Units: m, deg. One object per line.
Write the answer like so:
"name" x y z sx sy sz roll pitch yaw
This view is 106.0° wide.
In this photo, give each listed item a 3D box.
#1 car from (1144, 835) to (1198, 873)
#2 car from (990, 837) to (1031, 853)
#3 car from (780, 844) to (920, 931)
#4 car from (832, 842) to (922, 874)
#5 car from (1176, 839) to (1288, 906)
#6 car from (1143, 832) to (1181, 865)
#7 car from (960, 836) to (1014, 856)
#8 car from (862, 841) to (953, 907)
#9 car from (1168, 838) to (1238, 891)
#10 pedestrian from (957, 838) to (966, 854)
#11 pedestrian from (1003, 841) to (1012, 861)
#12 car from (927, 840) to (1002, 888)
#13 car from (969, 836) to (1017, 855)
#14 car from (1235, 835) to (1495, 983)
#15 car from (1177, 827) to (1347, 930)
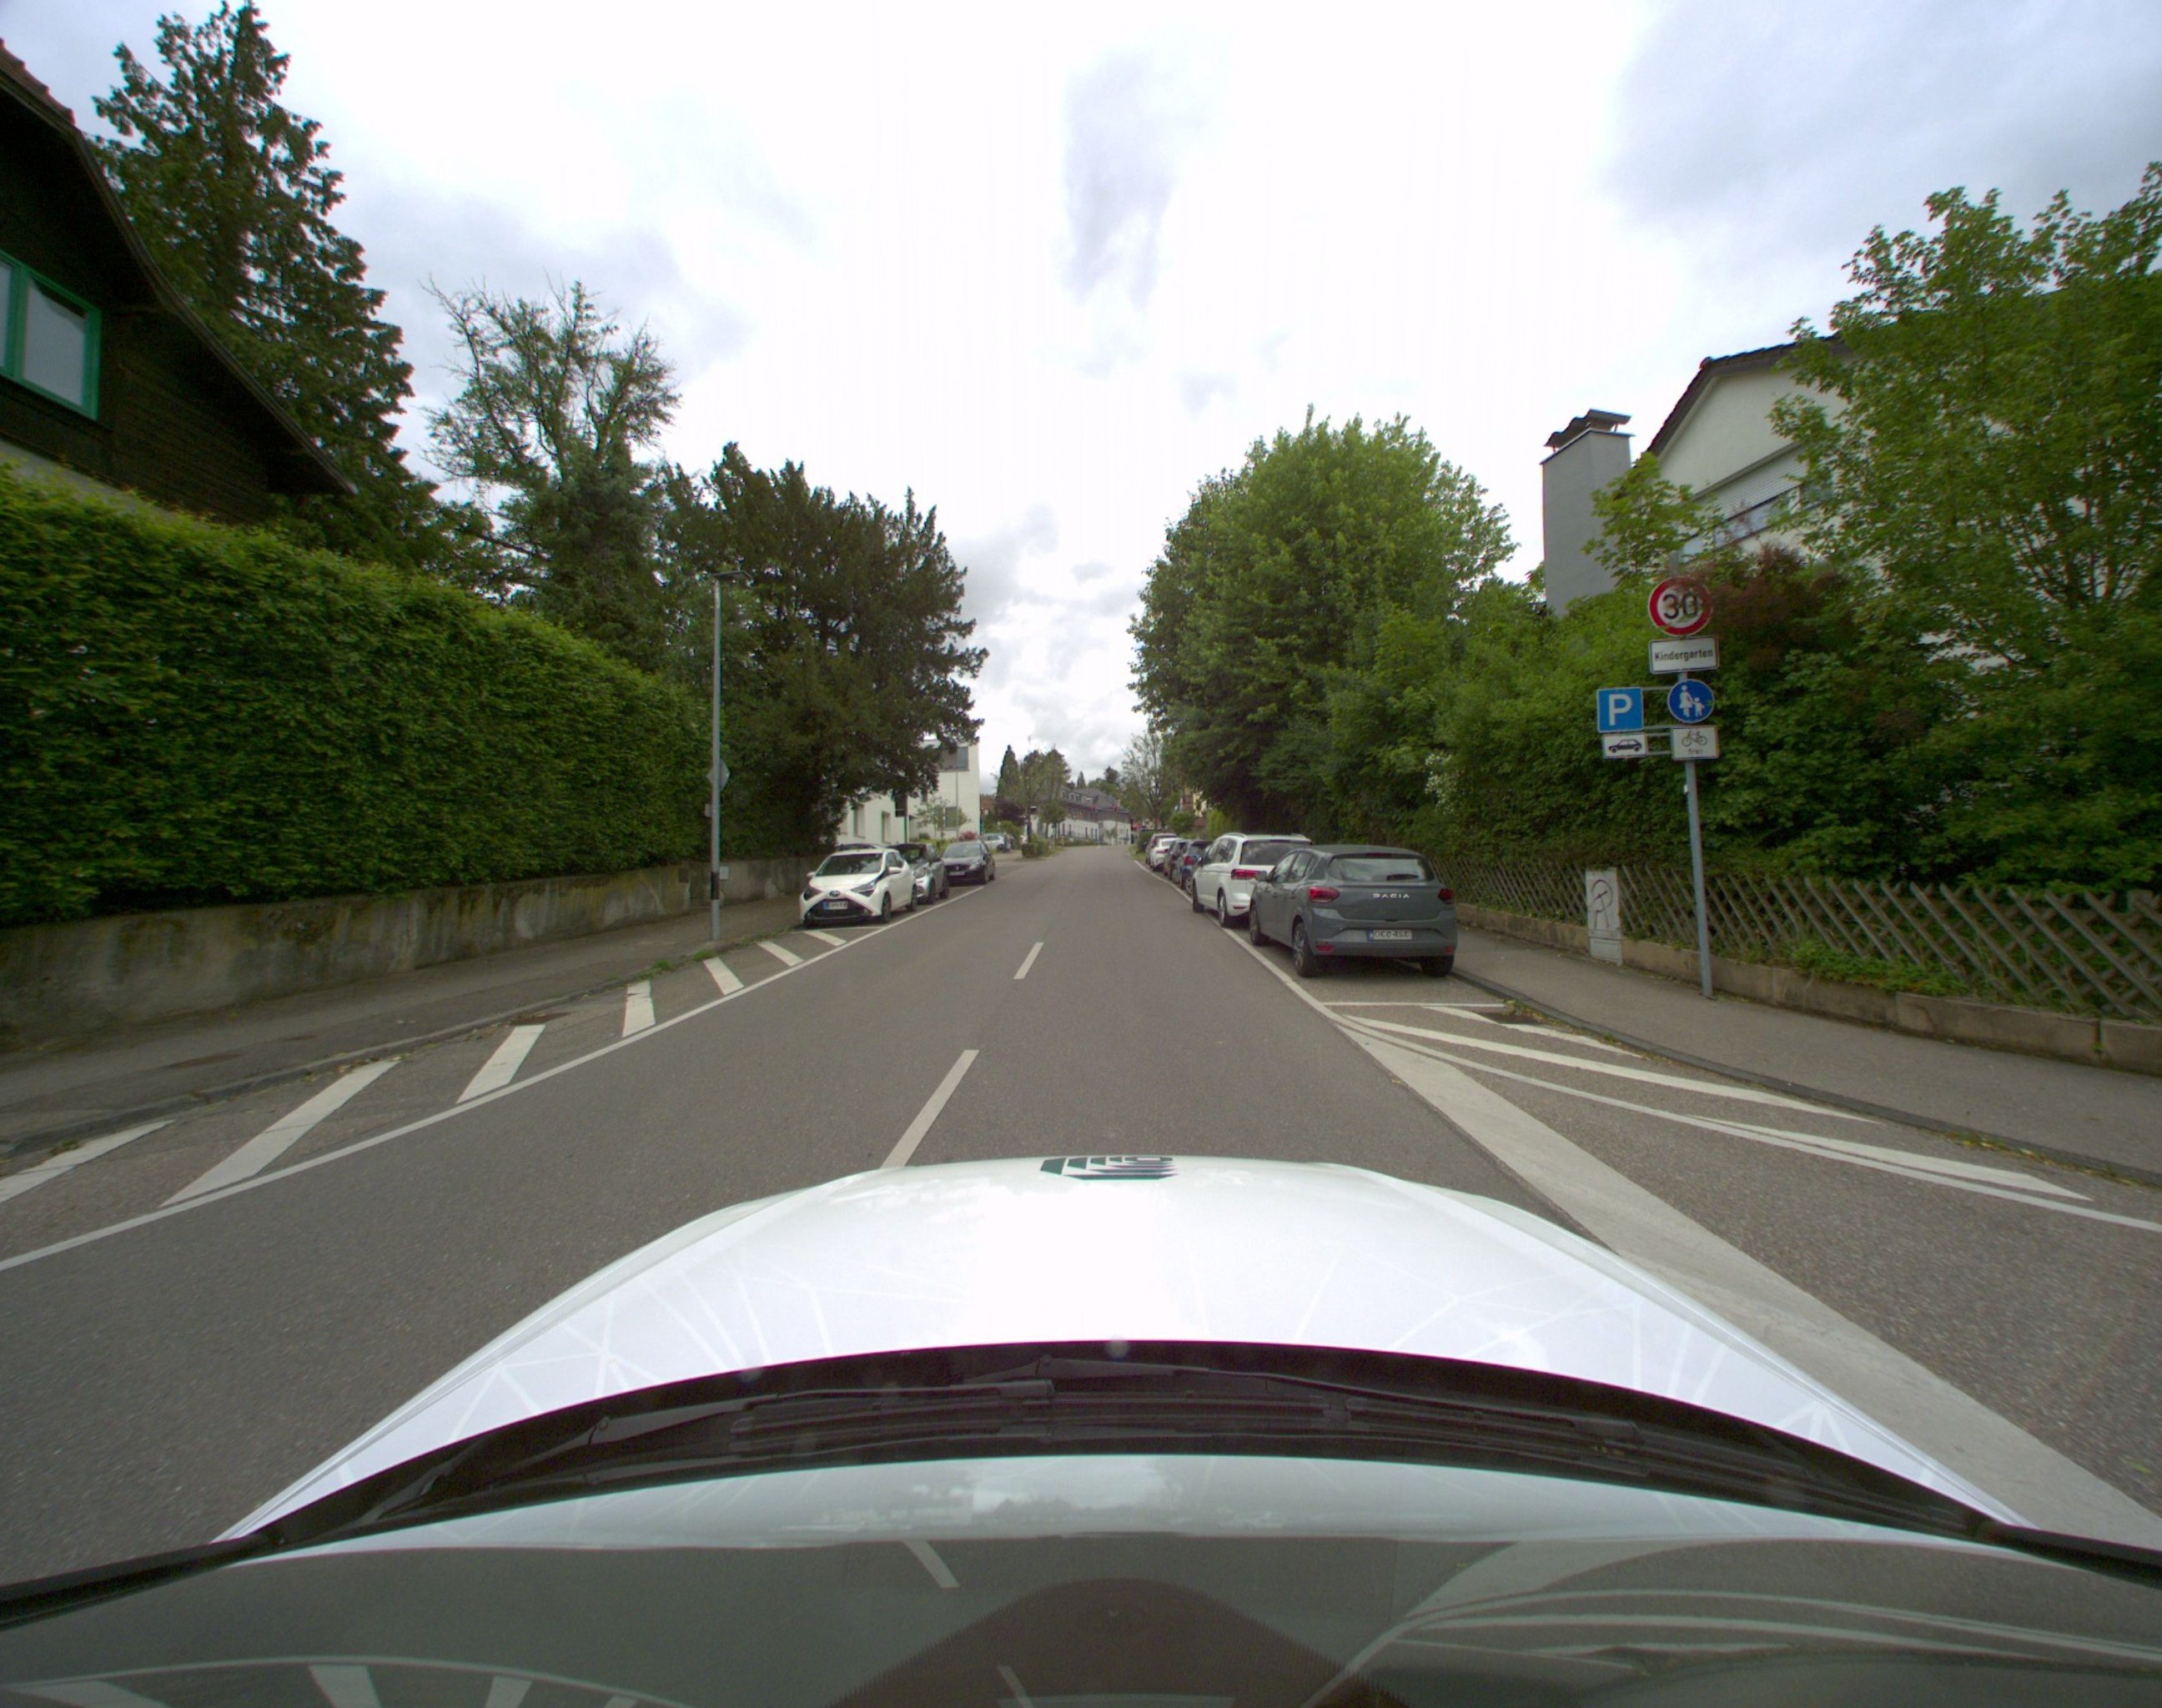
"car" 3.921 -0.064 36.212 1.985 1.491 5.008 -2 1 3
"car" -7.695 -0.974 89.213 4.248 1.623 2.013 -2 0 -1
"car" -4.593 0.595 16.720 1.738 1.447 3.514 -4 1 1
"car" -9.522 0.186 38.190 3.787 1.354 1.739 -1 1 -4
"car" 3.653 0.377 20.457 1.805 1.452 4.375 -2 1 -2
"car" 4.179 -0.298 42.500 1.710 1.632 3.931 0 1 2
"car" -8.107 -0.735 70.372 4.372 1.566 2.066 -2 1 0
"car" -4.368 0.458 20.954 1.618 1.518 2.976 -1 1 1
"car" 3.729 0.256 25.432 1.691 1.508 4.163 1 1 2
"pedestrian" -9.983 -0.669 68.150 0.604 1.283 0.900 0 1 1
"pedestrian" -6.207 -0.268 68.639 0.591 1.640 0.566 -2 1 3
"car" -4.013 0.280 28.799 1.844 1.469 4.684 -2 1 1
"car" -7.857 -0.791 73.012 3.971 1.653 2.010 -1 1 2
"car" 3.428 0.525 10.841 1.931 1.491 4.457 -2 1 1
"car" 3.276 0.347 15.789 1.996 1.608 4.754 -2 1 -3
